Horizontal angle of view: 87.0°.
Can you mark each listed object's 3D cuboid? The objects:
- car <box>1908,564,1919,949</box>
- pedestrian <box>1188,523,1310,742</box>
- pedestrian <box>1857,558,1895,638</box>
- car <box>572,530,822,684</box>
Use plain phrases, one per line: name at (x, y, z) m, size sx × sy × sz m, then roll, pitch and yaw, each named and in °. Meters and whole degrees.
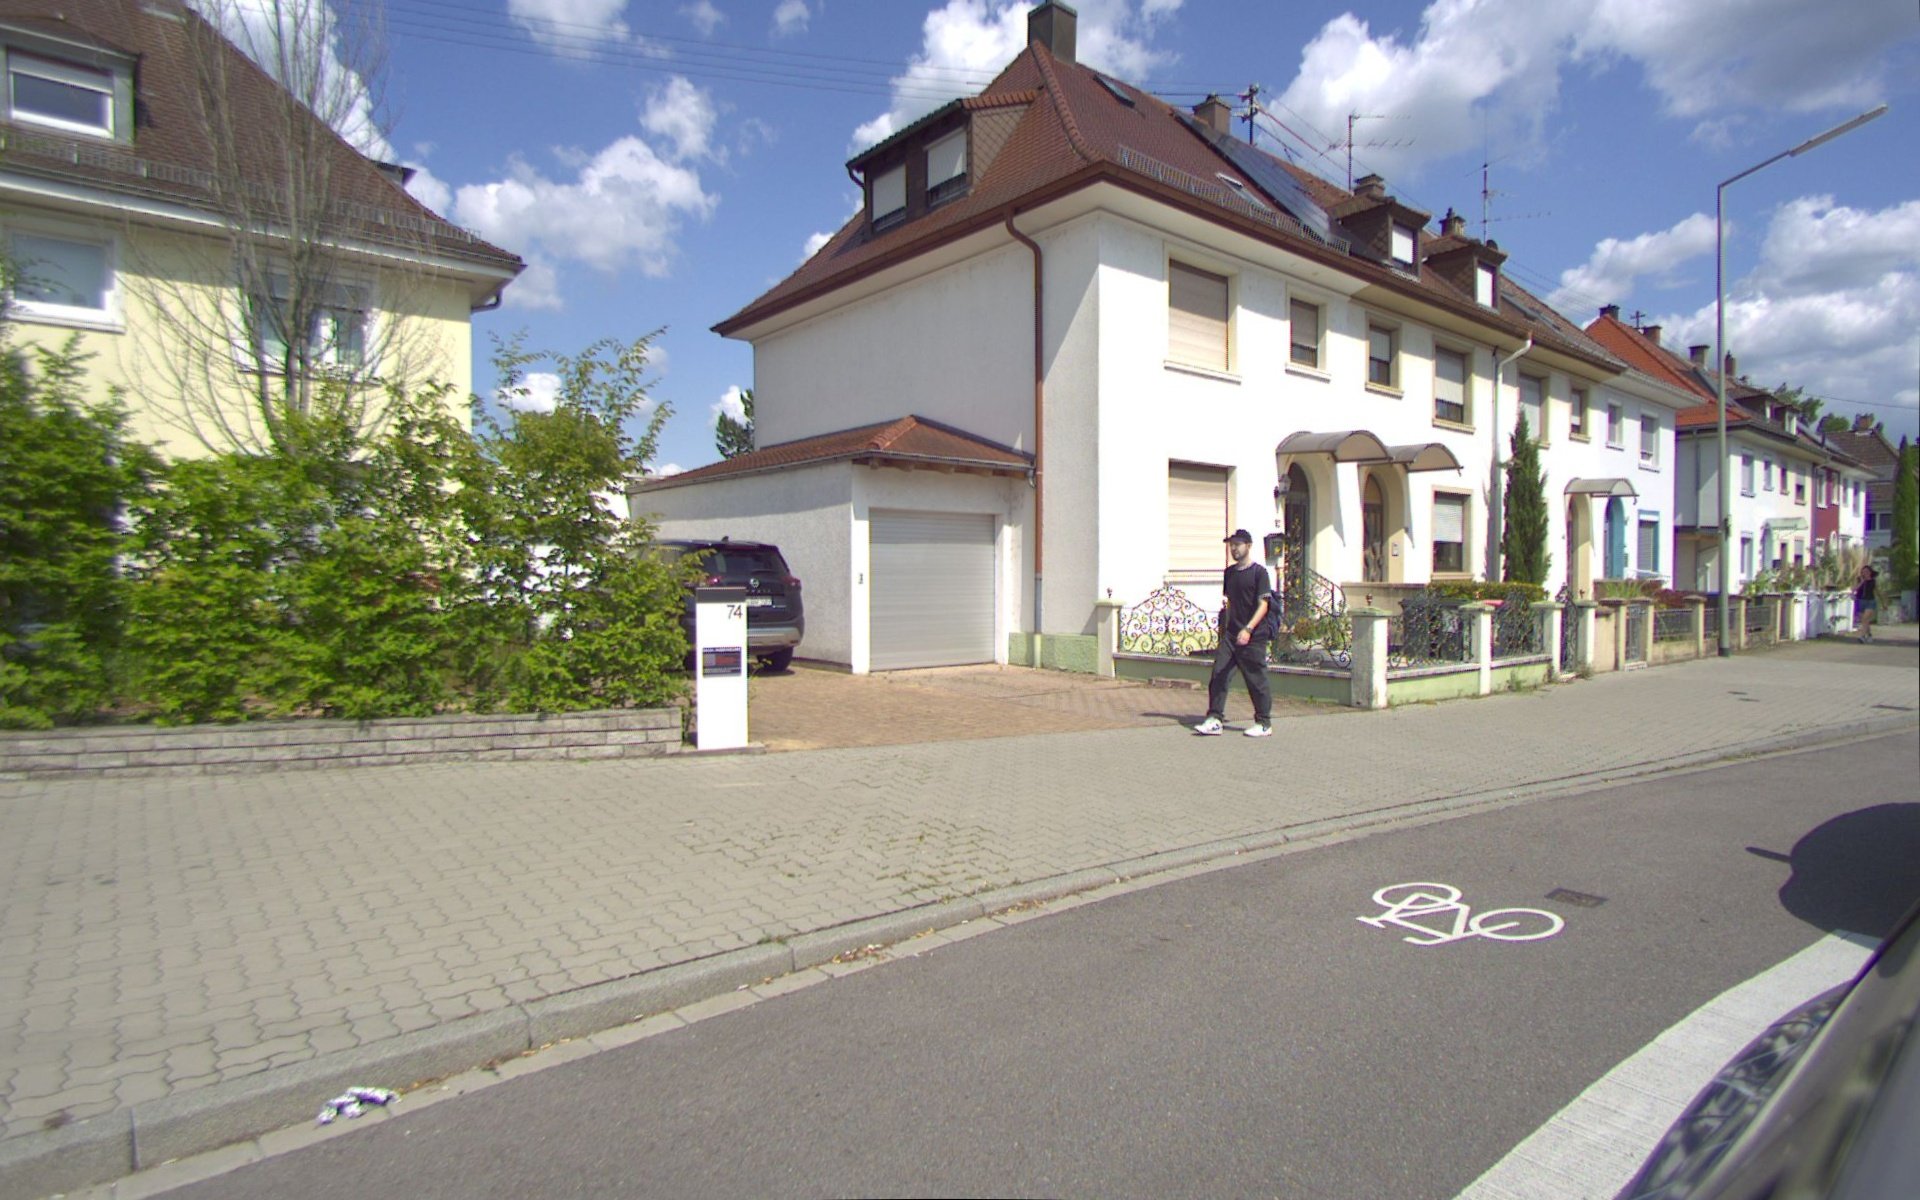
car at (5.976, 0.593, 4.842) m, size 4.608 × 1.492 × 1.764 m, roll -1°, pitch 2°, yaw -43°
pedestrian at (2.450, 0.253, 8.670) m, size 0.922 × 1.789 × 0.591 m, roll 1°, pitch 1°, yaw 11°
pedestrian at (20.392, -0.052, 22.531) m, size 0.607 × 1.732 × 0.519 m, roll -1°, pitch 1°, yaw -39°
car at (-3.636, 0.021, 13.515) m, size 1.834 × 1.729 × 3.998 m, roll -1°, pitch 2°, yaw -37°
